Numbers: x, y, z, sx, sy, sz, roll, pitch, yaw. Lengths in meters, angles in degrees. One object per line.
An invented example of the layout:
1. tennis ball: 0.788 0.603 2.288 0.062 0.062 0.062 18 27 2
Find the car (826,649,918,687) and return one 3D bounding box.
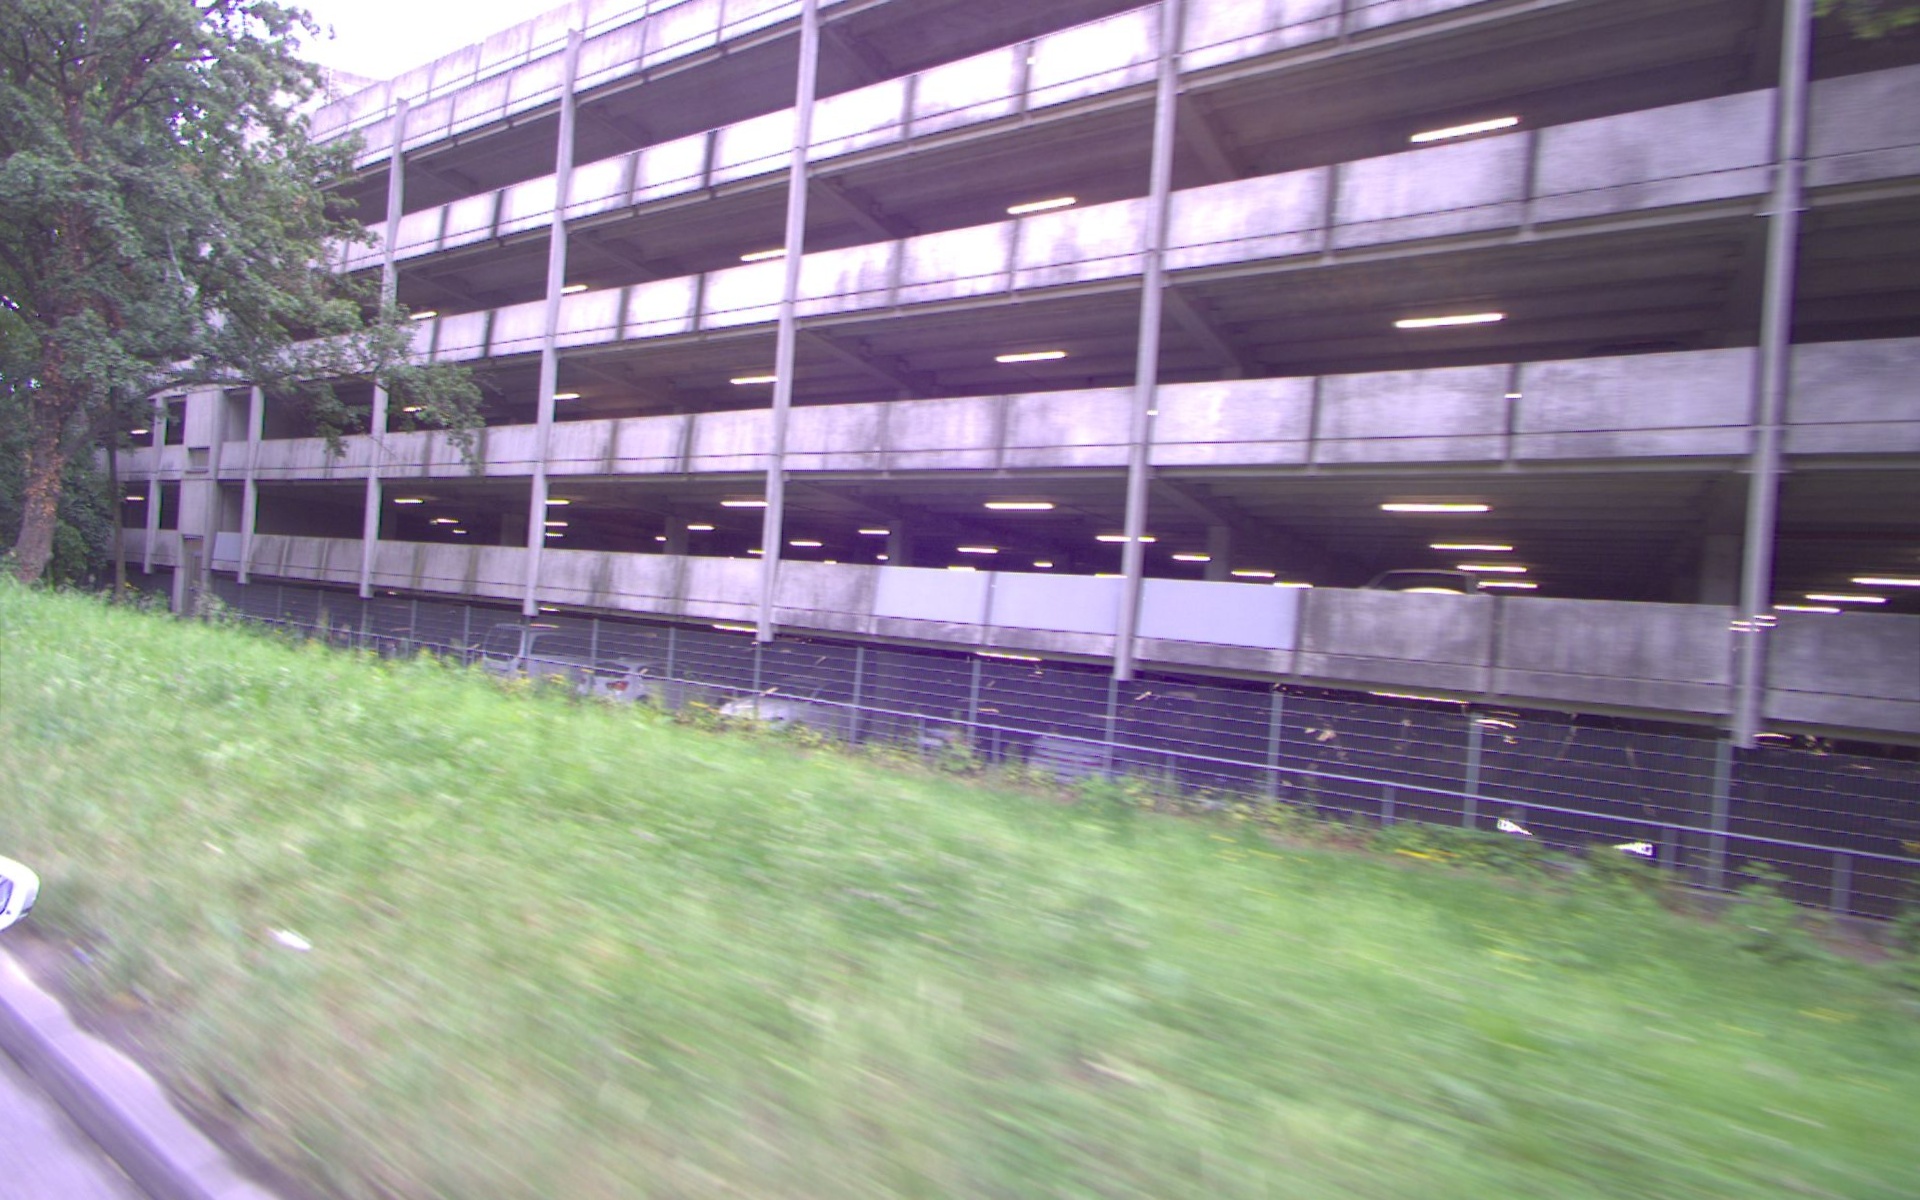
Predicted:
1. car: -3.523 2.744 40.804 1.760 1.323 3.694 4 -1 32

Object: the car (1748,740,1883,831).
1. car: 20.664 4.421 24.460 1.759 1.564 3.696 4 -1 30

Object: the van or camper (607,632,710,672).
1. van or camper: -12.086 2.114 40.542 1.699 1.427 3.714 5 -1 33

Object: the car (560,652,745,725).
1. car: -7.362 2.101 24.470 1.917 1.454 4.010 4 -1 31

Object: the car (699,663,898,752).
1. car: -3.366 2.235 21.834 1.917 1.525 4.259 5 -1 30

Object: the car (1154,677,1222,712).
1. car: 10.033 4.121 44.119 1.670 1.284 3.517 5 -1 33

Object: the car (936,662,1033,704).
1. car: 0.952 3.091 37.776 1.762 1.323 3.689 4 -1 37

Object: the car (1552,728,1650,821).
1. car: 14.422 3.851 22.789 1.645 1.501 3.666 5 0 31

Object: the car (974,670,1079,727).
1. car: 2.109 2.990 31.086 1.646 1.459 3.665 5 0 32

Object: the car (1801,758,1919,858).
1. car: 18.263 4.100 20.045 1.645 1.367 3.666 5 0 31

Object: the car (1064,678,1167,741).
1. car: 4.591 3.123 29.283 1.645 1.459 3.666 5 0 30

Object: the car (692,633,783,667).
1. car: -9.728 2.219 44.260 1.760 1.323 3.694 4 -1 32

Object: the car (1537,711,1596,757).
1. car: 22.132 4.850 36.712 1.669 1.284 3.518 5 -1 32

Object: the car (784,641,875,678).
1. car: -5.381 2.449 41.766 1.760 1.323 3.694 4 -1 32

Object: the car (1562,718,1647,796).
1. car: 16.928 4.068 26.567 1.645 1.501 3.666 5 0 31

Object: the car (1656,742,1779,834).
1. car: 16.431 4.018 21.994 1.645 1.367 3.666 5 0 31

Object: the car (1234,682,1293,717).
1. car: 13.088 4.273 43.251 1.668 1.283 3.523 3 -4 29

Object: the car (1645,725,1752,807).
1. car: 19.234 4.257 26.345 1.759 1.564 3.696 4 -1 30

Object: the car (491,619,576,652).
1. car: -19.559 1.646 46.218 1.544 1.323 3.201 4 -1 36

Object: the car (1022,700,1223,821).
1. car: 3.114 2.788 18.369 1.916 1.525 4.594 5 0 32

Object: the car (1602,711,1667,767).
1. car: 24.066 4.916 35.997 1.669 1.589 3.518 5 -1 32

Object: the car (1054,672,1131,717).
1. car: 4.639 3.266 34.865 1.418 1.348 3.131 5 -2 31

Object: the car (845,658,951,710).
1. car: -1.970 2.732 33.137 1.645 1.459 3.666 4 -1 30

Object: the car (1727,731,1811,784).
1. car: 26.633 5.140 33.210 1.694 1.284 3.677 5 -1 33

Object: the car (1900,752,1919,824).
1. car: 22.838 4.443 22.495 1.759 1.564 3.696 4 -1 30

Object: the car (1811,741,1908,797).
1. car: 29.006 5.414 32.541 1.694 1.317 3.712 5 -1 33

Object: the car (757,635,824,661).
1. car: -9.818 2.773 58.356 1.760 1.323 3.694 4 -1 32

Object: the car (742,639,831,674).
1. car: -7.449 2.442 43.492 1.760 1.323 3.694 4 -1 32

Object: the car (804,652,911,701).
1. car: -3.545 2.651 35.236 1.647 1.459 3.661 5 0 35

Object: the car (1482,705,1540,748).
1. car: 20.954 4.760 38.206 1.669 1.284 3.518 5 -1 32

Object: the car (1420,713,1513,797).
1. car: 12.274 3.649 24.281 1.645 1.497 3.666 5 0 31

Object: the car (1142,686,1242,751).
1. car: 6.619 3.292 28.459 1.645 1.459 3.666 5 0 30

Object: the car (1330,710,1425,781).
1. car: 10.646 3.624 25.509 1.645 1.299 3.666 5 0 31

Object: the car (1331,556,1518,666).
1. car: 7.192 0.224 15.373 1.805 1.360 3.831 5 0 36

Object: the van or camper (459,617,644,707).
1. van or camper: -10.364 1.570 25.805 1.809 1.978 4.009 5 -1 30

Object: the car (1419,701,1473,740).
1. car: 18.871 4.644 39.018 1.668 1.283 3.523 3 -4 29

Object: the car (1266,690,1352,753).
1. car: 10.866 3.693 31.181 1.759 1.564 3.696 4 -1 30

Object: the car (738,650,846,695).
1. car: -5.917 2.560 35.762 1.647 1.374 3.661 5 0 35
